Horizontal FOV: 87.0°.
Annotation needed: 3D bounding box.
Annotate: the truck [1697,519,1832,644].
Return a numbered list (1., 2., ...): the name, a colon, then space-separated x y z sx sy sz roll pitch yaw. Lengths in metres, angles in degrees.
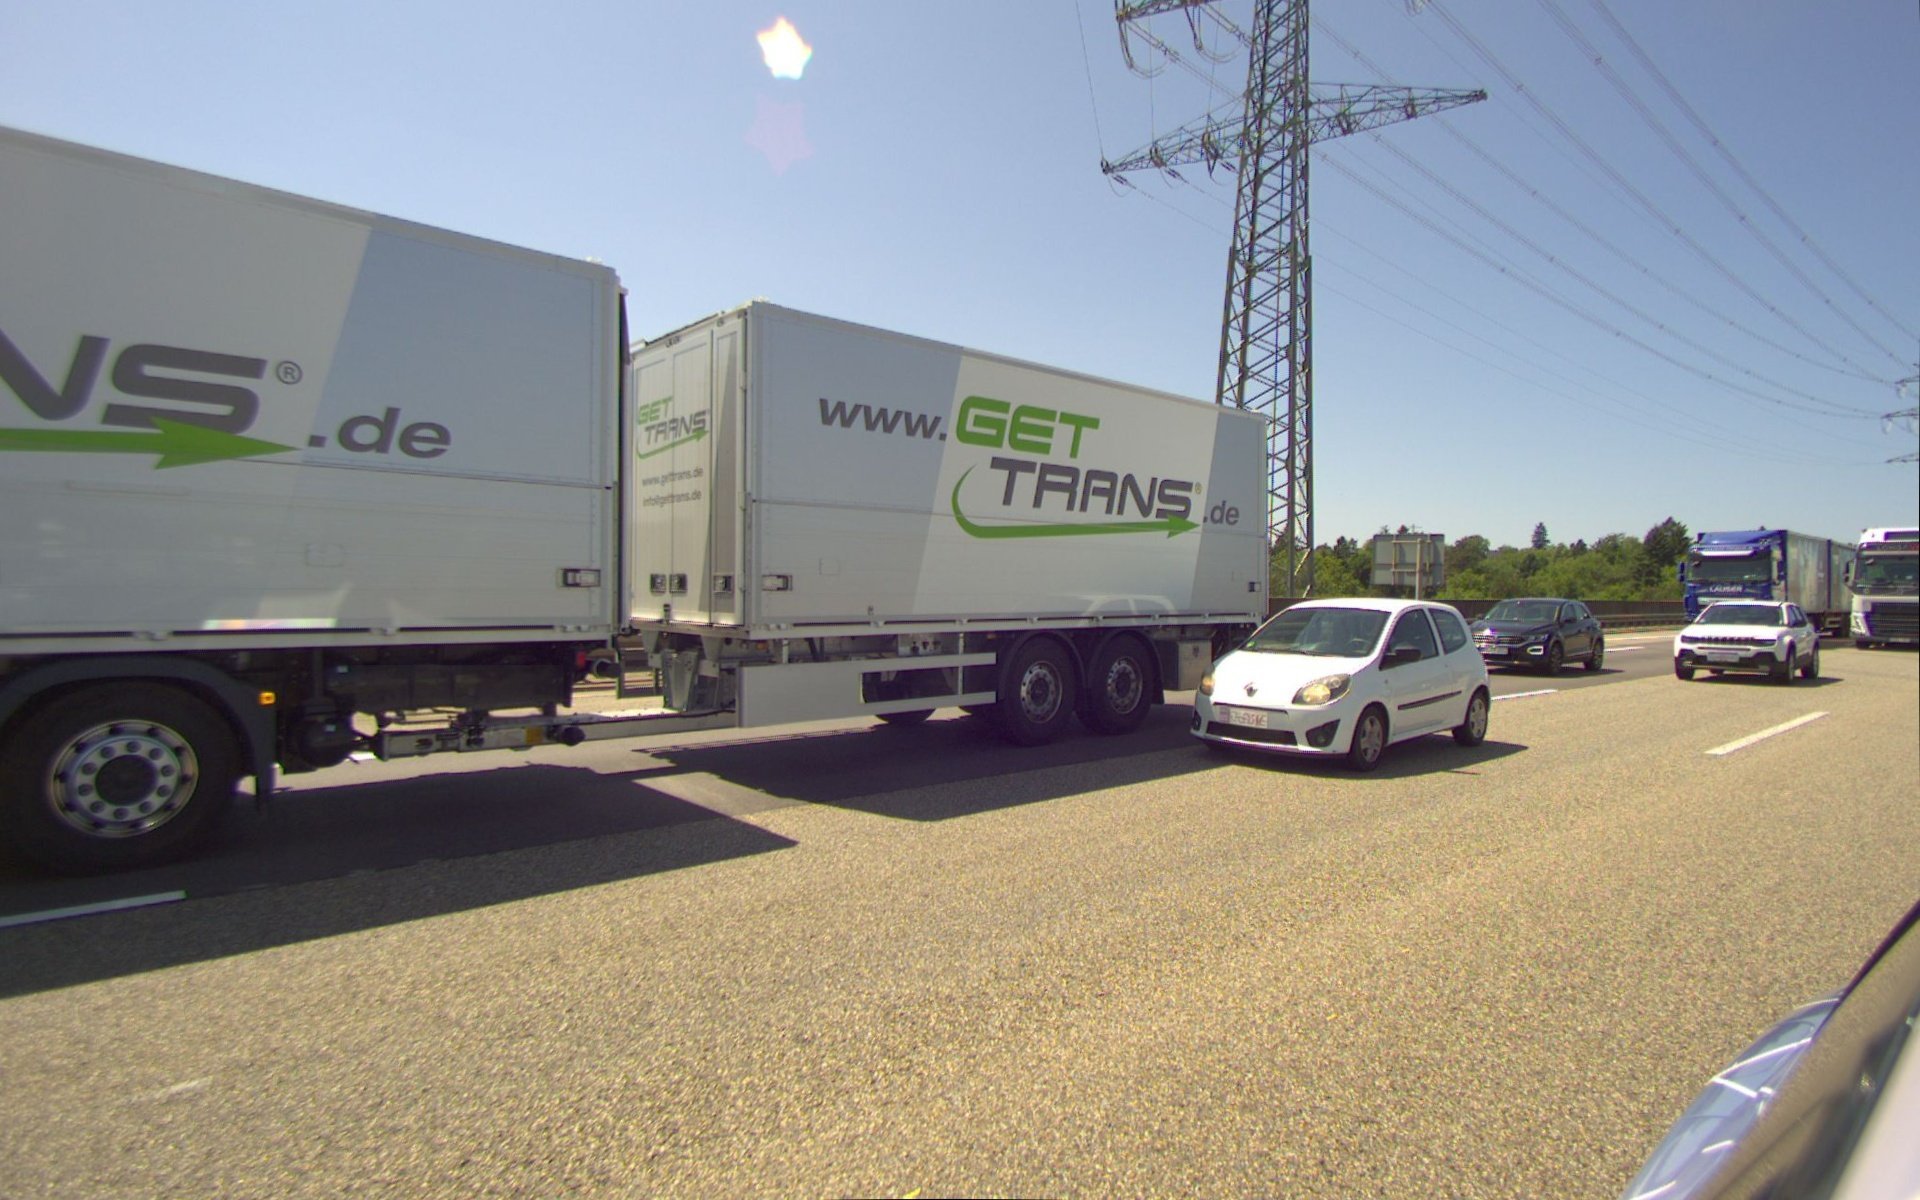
1. truck: 28.834 -0.581 36.135 7.790 4.018 2.515 0 0 -42

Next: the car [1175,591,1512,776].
1. car: 3.819 0.657 9.814 3.566 1.458 1.582 0 0 -41

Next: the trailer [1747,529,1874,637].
1. trailer: 35.734 -0.677 42.313 10.698 4.044 2.541 -1 0 -42

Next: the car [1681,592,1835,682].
1. car: 15.514 0.651 19.622 3.688 1.554 1.720 0 0 -42

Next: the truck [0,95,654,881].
1. truck: -6.942 -0.515 4.376 10.583 3.648 2.855 0 0 -42

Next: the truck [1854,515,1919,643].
1. truck: 31.943 -0.660 33.373 6.624 3.941 2.911 0 0 -41

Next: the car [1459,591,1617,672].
1. car: 12.140 0.597 21.174 3.820 1.524 1.708 0 0 -41

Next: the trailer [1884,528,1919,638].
1. trailer: 38.048 -0.646 38.740 9.604 3.918 2.895 -1 0 -41

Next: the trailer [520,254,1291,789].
1. trailer: 0.059 -0.532 10.679 8.148 3.640 2.848 0 0 -42
